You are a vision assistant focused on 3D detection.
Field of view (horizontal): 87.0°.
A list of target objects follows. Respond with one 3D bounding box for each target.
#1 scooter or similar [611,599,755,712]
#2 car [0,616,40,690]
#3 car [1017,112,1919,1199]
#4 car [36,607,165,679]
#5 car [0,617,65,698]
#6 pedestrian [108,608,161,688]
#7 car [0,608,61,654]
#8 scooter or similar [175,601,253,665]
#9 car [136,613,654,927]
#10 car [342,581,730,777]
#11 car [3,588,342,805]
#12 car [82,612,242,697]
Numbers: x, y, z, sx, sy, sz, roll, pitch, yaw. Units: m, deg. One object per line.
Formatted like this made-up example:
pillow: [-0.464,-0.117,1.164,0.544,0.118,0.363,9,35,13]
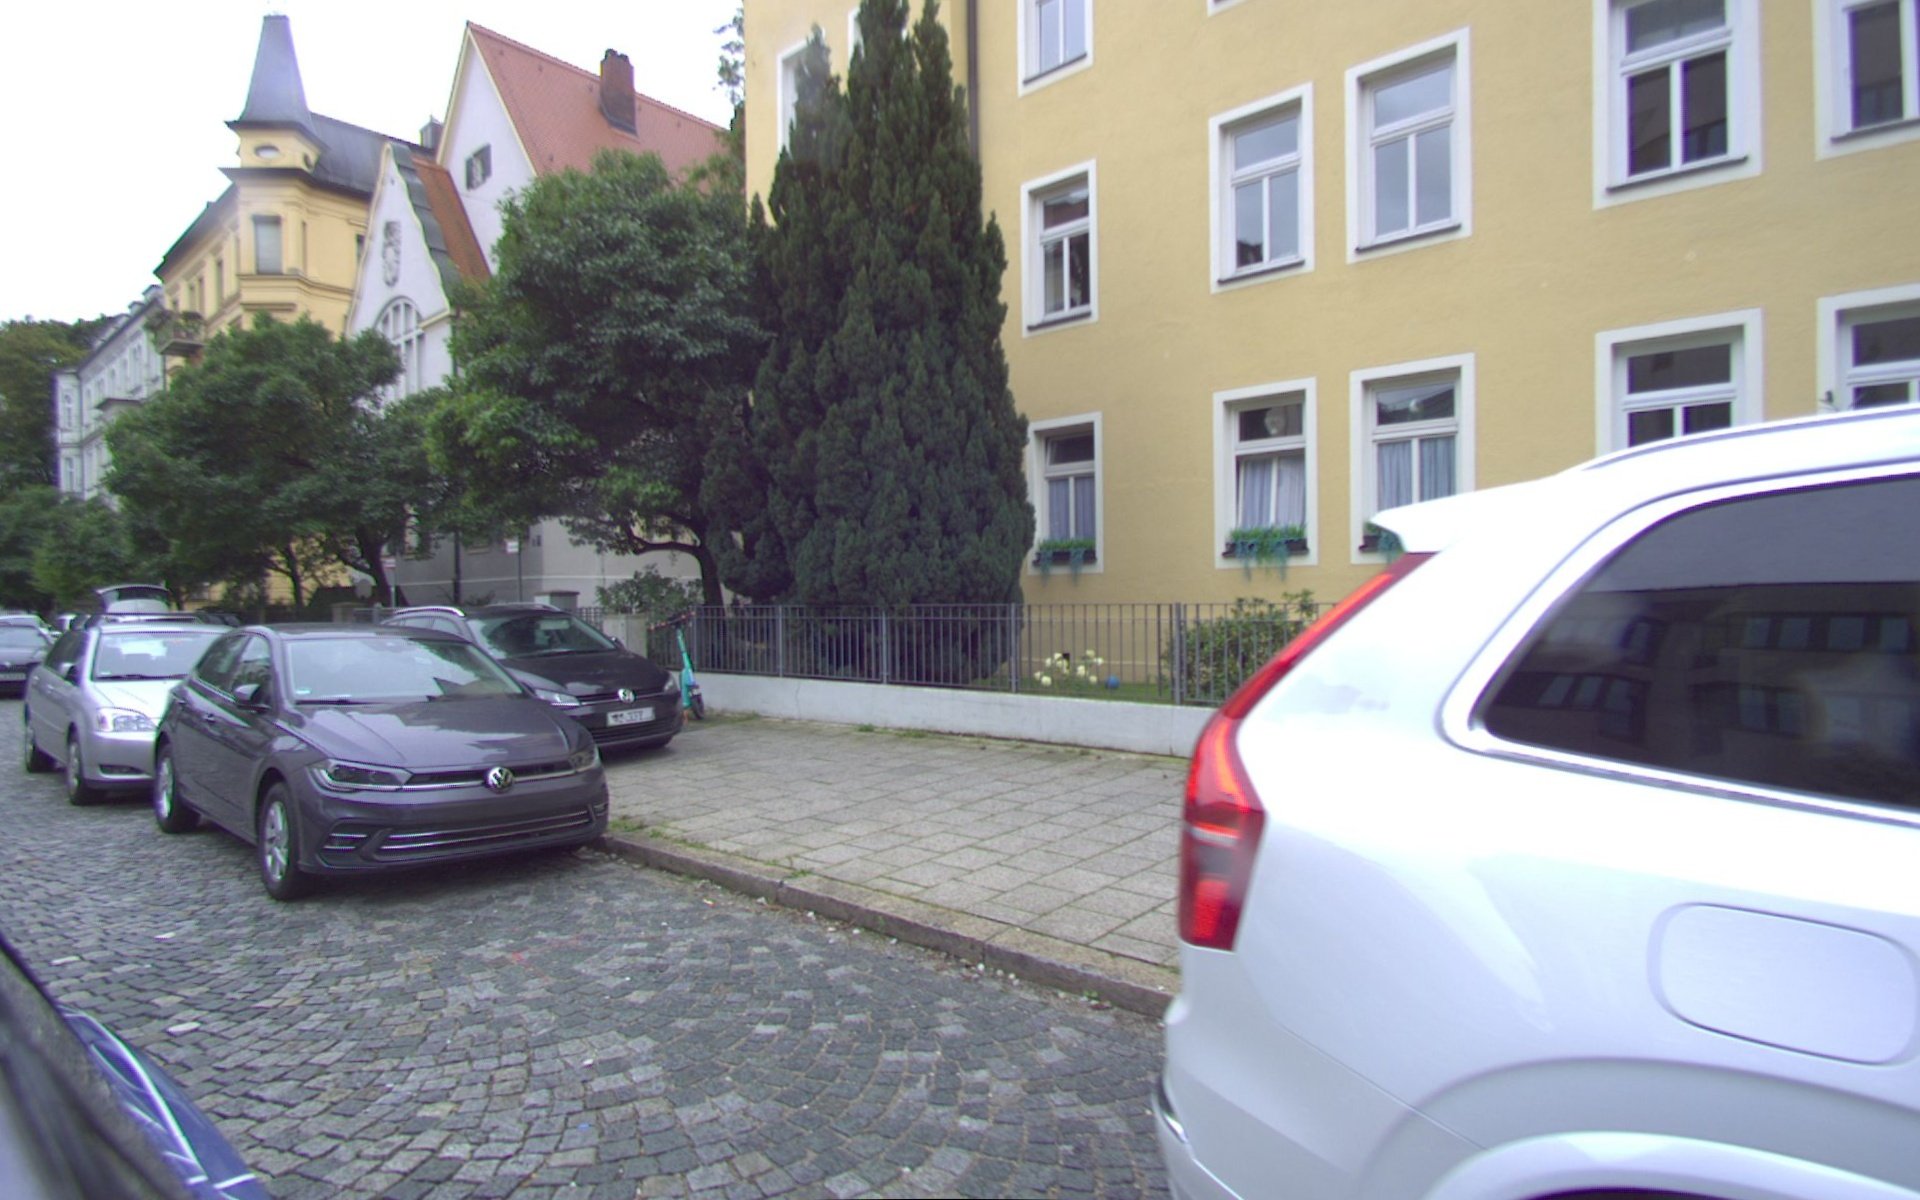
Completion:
scooter or similar: [-3.359,0.637,12.230,1.522,1.209,0.946,-1,3,41]
car: [-22.792,1.182,23.392,4.534,1.615,1.722,-1,-1,41]
car: [2.671,0.424,0.748,5.173,1.822,1.985,-1,-1,42]
car: [-21.418,1.004,25.156,4.464,1.547,1.722,-1,2,41]
car: [-19.186,1.064,19.926,4.912,1.466,1.795,-1,-2,42]
pedestrian: [-17.746,1.012,21.759,0.582,1.662,0.758,-1,1,42]
car: [-33.627,1.081,36.044,4.387,1.477,1.823,-1,2,41]
scooter or similar: [-18.938,0.820,25.673,2.634,1.534,1.051,-1,0,42]
car: [-3.829,0.815,6.568,3.934,1.429,1.711,-1,-2,41]
car: [-4.502,0.657,10.331,4.719,1.508,1.698,-1,3,41]
car: [-7.476,0.740,9.438,4.388,1.574,1.696,-1,-1,41]
car: [-16.114,1.016,20.350,4.560,1.427,1.757,-1,2,42]
